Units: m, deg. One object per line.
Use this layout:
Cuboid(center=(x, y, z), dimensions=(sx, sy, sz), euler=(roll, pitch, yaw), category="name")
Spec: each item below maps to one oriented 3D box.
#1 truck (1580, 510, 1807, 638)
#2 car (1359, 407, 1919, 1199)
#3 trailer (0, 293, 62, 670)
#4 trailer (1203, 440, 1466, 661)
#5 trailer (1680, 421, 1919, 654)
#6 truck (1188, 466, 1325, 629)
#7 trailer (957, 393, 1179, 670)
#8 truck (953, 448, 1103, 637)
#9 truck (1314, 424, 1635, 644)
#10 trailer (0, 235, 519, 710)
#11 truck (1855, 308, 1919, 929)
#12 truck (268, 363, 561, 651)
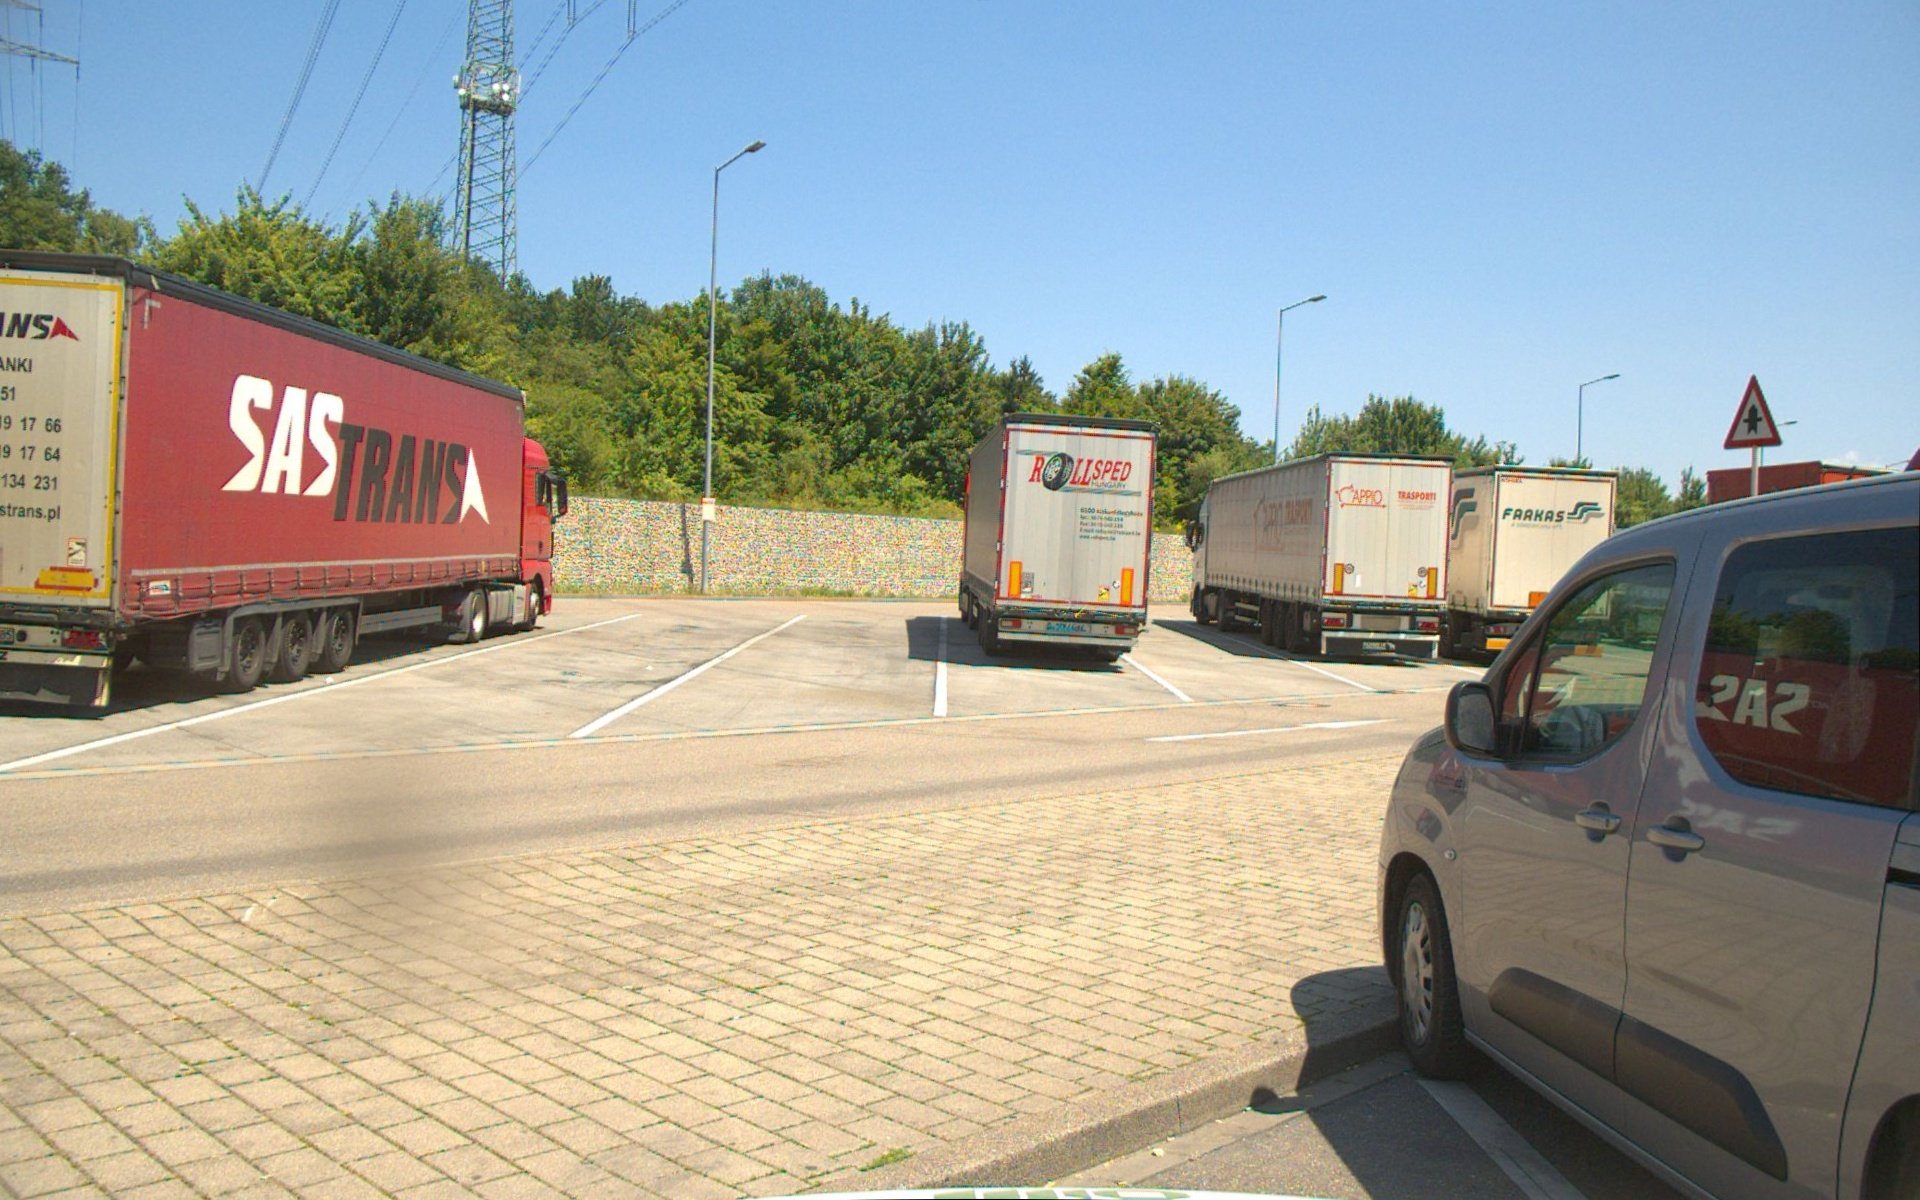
Cuboid(center=(21.955, -0.810, 50.189), dimensions=(2.963, 3.497, 8.529), euler=(1, 1, -1), category="truck")
Cuboid(center=(2.433, 0.558, 3.819), dimensions=(1.790, 1.784, 3.997), euler=(1, 1, -4), category="car")
Cuboid(center=(-12.409, -1.312, 15.449), dimensions=(2.689, 4.337, 9.733), euler=(1, 1, 0), category="trailer")
Cuboid(center=(8.203, -1.088, 38.613), dimensions=(2.818, 4.196, 13.569), euler=(1, 1, -1), category="trailer")
Cuboid(center=(18.932, -1.177, 34.025), dimensions=(8.556, 4.332, 2.818), euler=(0, 1, -28), category="trailer")
Cuboid(center=(8.069, -1.414, 45.612), dimensions=(2.701, 4.196, 5.283), euler=(1, 1, -1), category="truck")
Cuboid(center=(1.697, -1.317, 32.681), dimensions=(3.008, 4.301, 12.805), euler=(2, 2, -2), category="trailer")
Cuboid(center=(1.464, -1.382, 39.446), dimensions=(2.965, 3.997, 6.845), euler=(2, 2, -2), category="truck")
Cuboid(center=(11.739, -1.453, 39.991), dimensions=(2.846, 4.195, 14.525), euler=(3, 1, -1), category="truck")
Cuboid(center=(-8.682, -1.262, 21.079), dimensions=(2.694, 4.128, 13.285), euler=(1, 1, -1), category="trailer")
Cuboid(center=(4.980, 0.131, 4.940), dimensions=(1.952, 2.669, 5.305), euler=(1, 1, 3), category="truck")
Cuboid(center=(-8.776, -1.423, 27.540), dimensions=(2.687, 4.152, 6.828), euler=(1, 1, -1), category="truck")
